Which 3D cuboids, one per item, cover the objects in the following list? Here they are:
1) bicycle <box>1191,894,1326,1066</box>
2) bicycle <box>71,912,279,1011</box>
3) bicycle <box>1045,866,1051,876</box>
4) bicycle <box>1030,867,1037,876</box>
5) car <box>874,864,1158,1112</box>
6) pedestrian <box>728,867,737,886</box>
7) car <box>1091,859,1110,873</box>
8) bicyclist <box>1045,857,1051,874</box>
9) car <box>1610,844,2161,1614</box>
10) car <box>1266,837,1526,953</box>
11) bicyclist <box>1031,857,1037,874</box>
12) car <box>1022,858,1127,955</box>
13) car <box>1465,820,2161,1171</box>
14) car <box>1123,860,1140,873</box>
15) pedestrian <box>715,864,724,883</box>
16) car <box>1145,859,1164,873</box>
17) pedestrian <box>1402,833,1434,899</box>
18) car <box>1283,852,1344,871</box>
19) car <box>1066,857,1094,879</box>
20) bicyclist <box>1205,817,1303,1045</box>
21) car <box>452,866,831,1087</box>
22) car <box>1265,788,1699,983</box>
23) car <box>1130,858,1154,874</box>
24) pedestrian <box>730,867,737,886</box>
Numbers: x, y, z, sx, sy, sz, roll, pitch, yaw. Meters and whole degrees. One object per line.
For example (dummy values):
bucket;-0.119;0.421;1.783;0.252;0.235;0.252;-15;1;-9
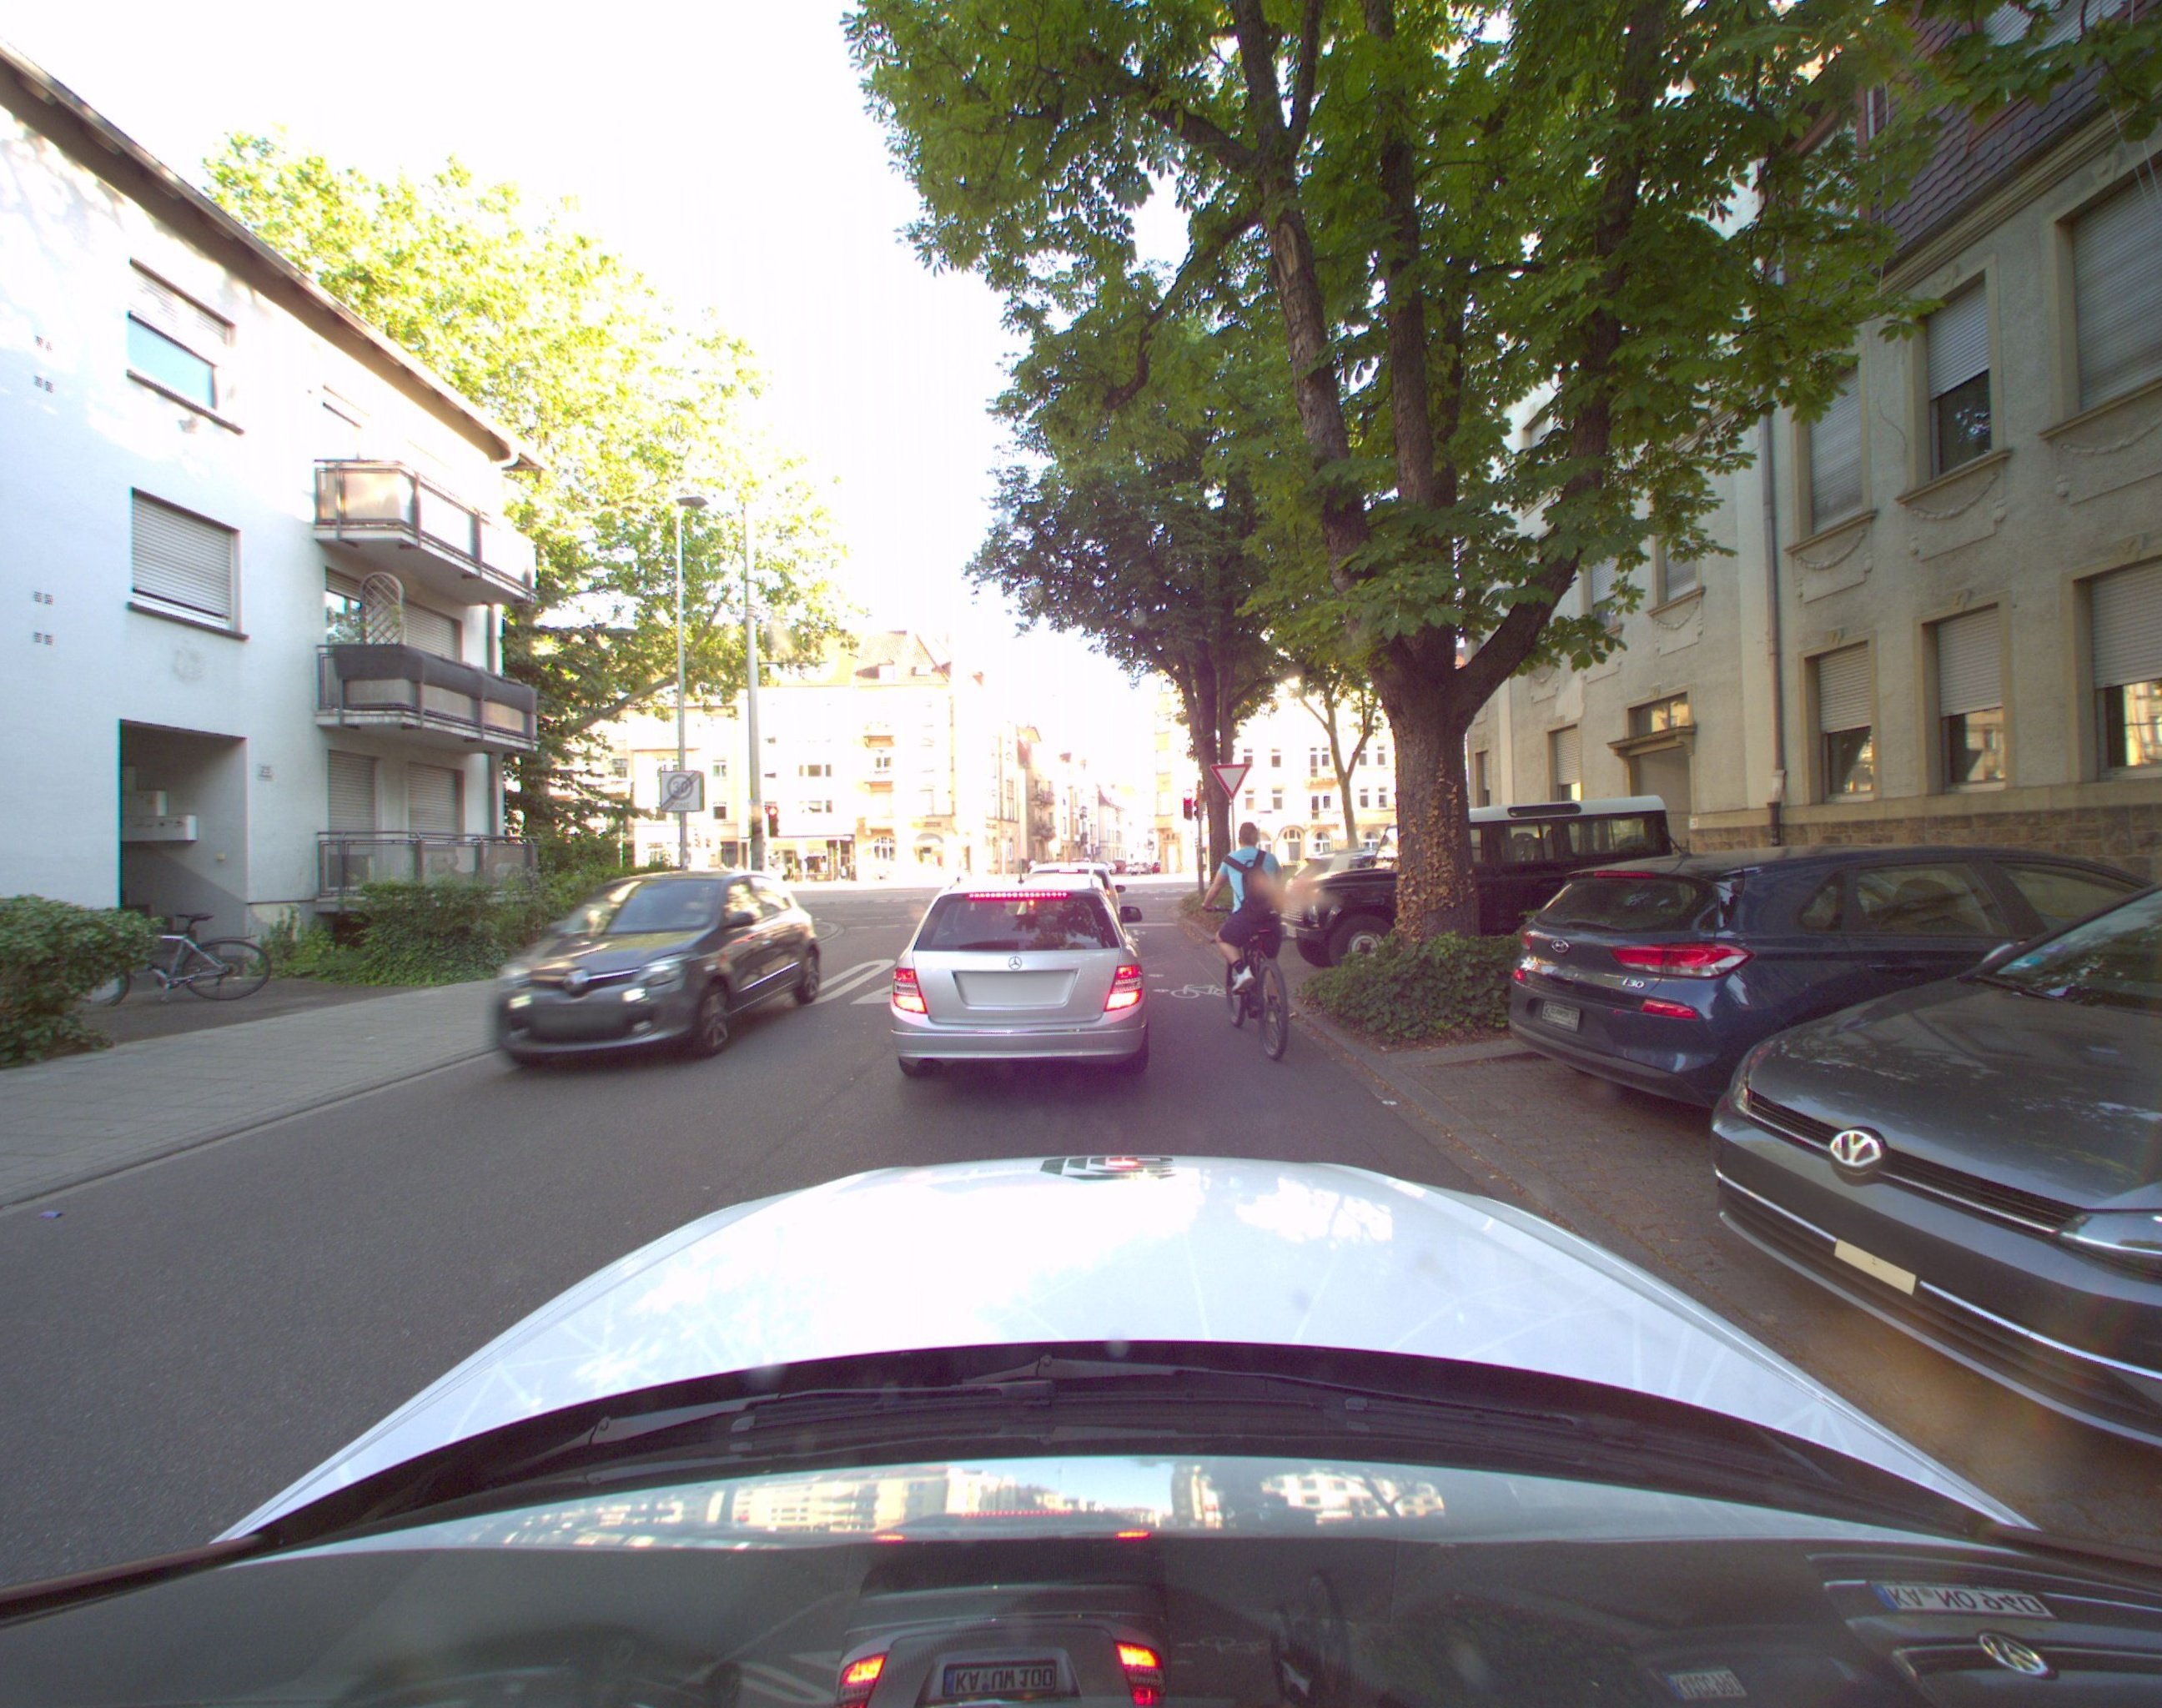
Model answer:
bicycle;1.399;0.943;6.796;0.739;1.118;2.014;0;0;2
bicycle;-10.011;1.158;9.070;1.469;0.975;0.402;2;-2;-38
bicycle;-2.967;1.539;73.468;0.567;0.834;1.565;-1;0;-1
bicycle;-4.255;1.580;73.578;0.567;0.834;1.565;-1;0;-1
car;-0.402;0.812;6.595;1.685;1.429;3.491;0;0;-1
pedestrian;-27.943;1.768;65.287;0.507;1.511;0.536;-1;0;-3
car;2.523;1.539;102.540;1.639;1.783;3.876;-1;-1;13
bicyclist;-2.985;1.014;73.547;0.465;1.521;0.693;-1;0;-2
car;4.066;0.664;2.313;4.037;1.422;1.627;-3;-1;-2
car;4.971;0.613;13.148;3.475;1.586;1.708;-3;0;-5
bicyclist;-4.276;1.048;73.568;0.465;1.514;0.655;-1;0;-2
car;-0.079;0.787;13.829;1.528;1.391;3.599;-1;0;0
car;4.414;0.617;4.532;3.739;1.422;1.627;-3;-1;-2
car;6.885;1.660;111.112;1.675;1.722;4.014;-2;0;13
pedestrian;-28.333;1.516;63.840;0.566;1.511;0.499;-1;0;-17
car;9.217;1.463;102.020;1.709;1.478;4.016;-6;-1;14
pedestrian;9.676;0.339;23.382;0.630;1.845;0.574;-1;0;-2
car;14.214;0.473;49.882;3.352;1.069;1.380;-2;0;0
car;-0.081;1.356;79.942;1.926;1.958;4.161;-2;0;10
bicyclist;1.411;0.604;6.776;0.644;1.775;0.831;0;-1;1
car;-3.801;0.926;7.820;1.610;1.501;3.591;-3;0;0
car;4.786;0.352;10.182;4.478;1.956;1.792;-3;0;-1
car;6.439;1.269;85.891;1.708;1.478;4.016;-3;0;14
pedestrian;-27.591;1.759;64.688;0.474;1.511;0.428;-1;0;-18
